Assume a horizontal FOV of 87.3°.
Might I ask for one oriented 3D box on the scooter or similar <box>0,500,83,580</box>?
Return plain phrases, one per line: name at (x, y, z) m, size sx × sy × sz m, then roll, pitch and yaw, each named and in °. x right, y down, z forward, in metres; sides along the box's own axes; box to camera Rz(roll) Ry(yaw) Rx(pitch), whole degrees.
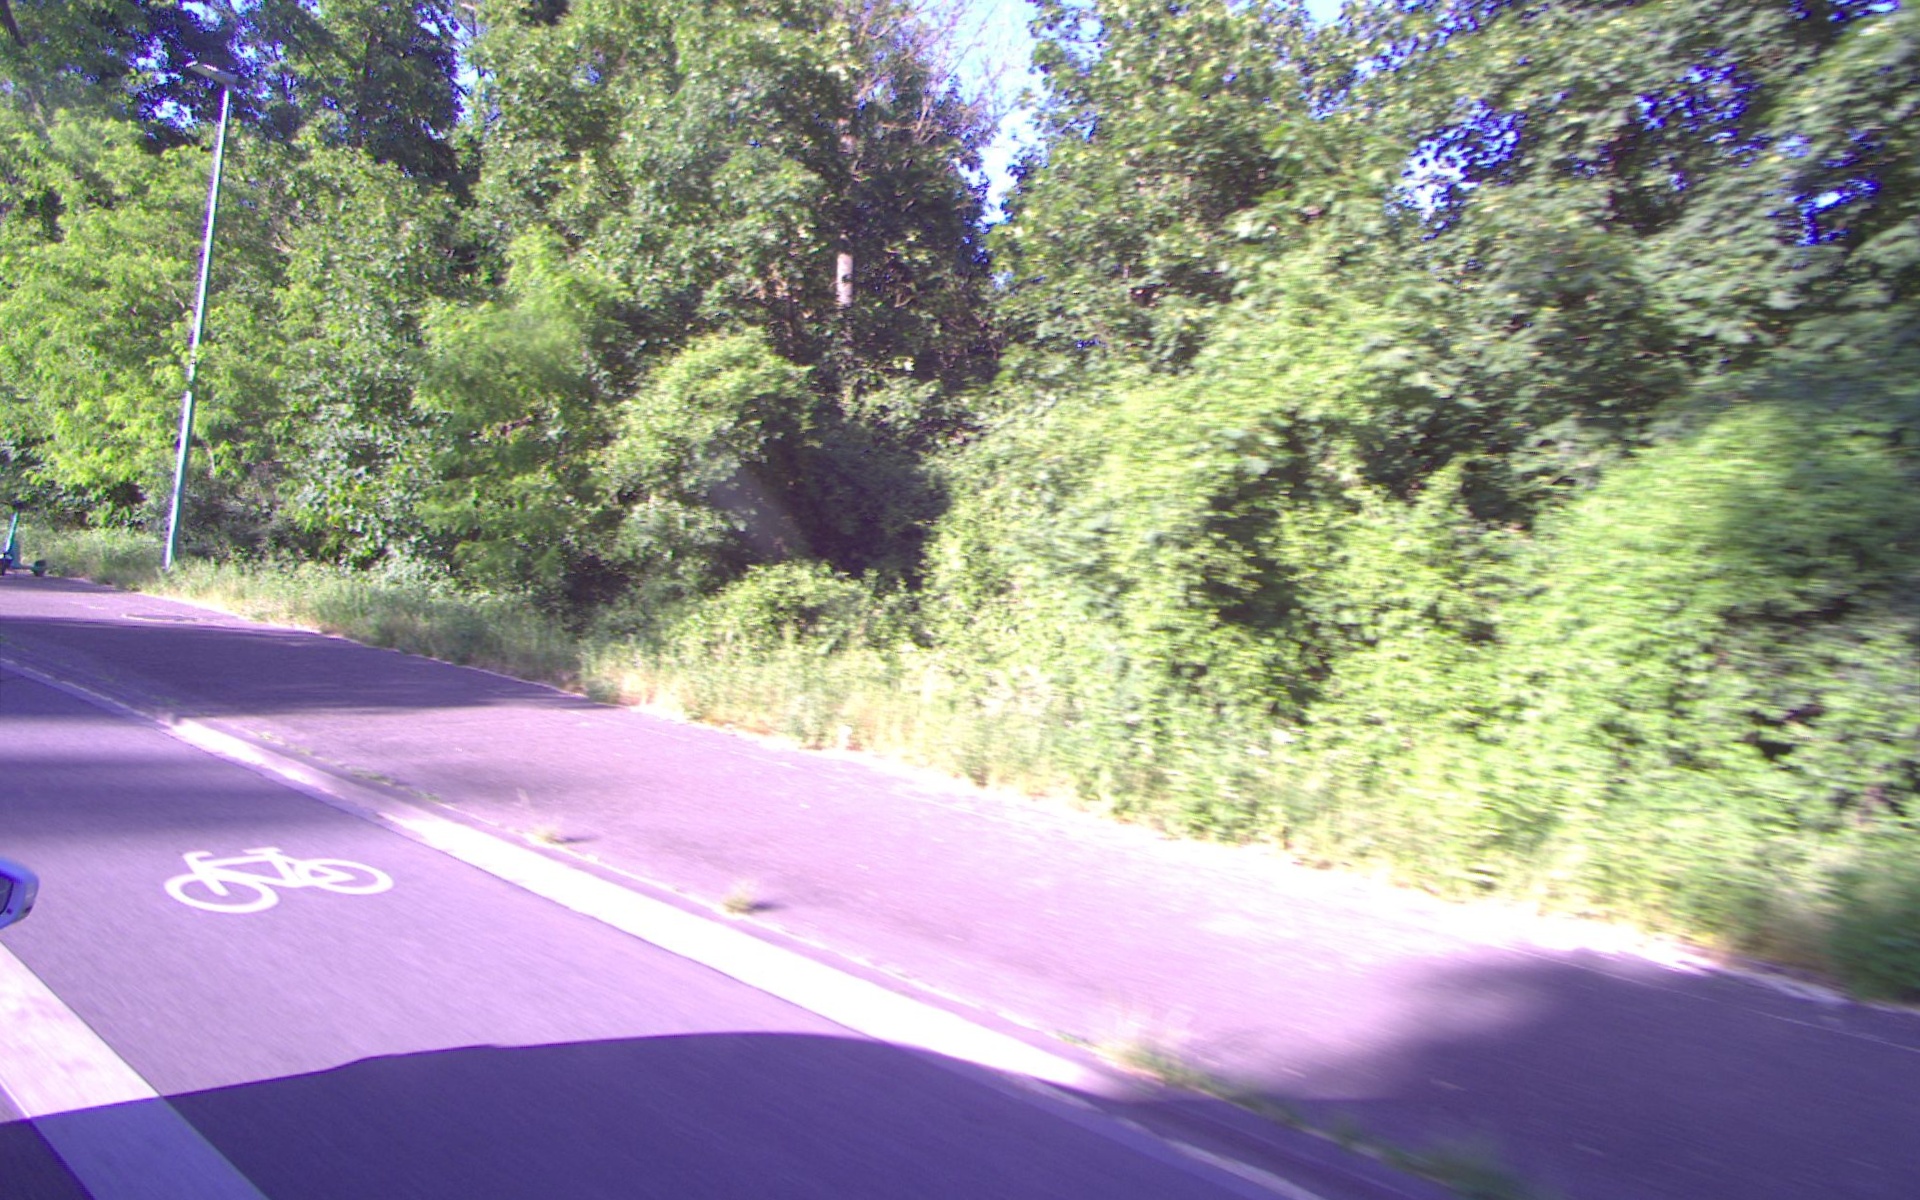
scooter or similar at (-15.816, -1.001, 17.146) m, size 0.526 × 1.265 × 1.537 m, roll 6°, pitch 0°, yaw -11°
